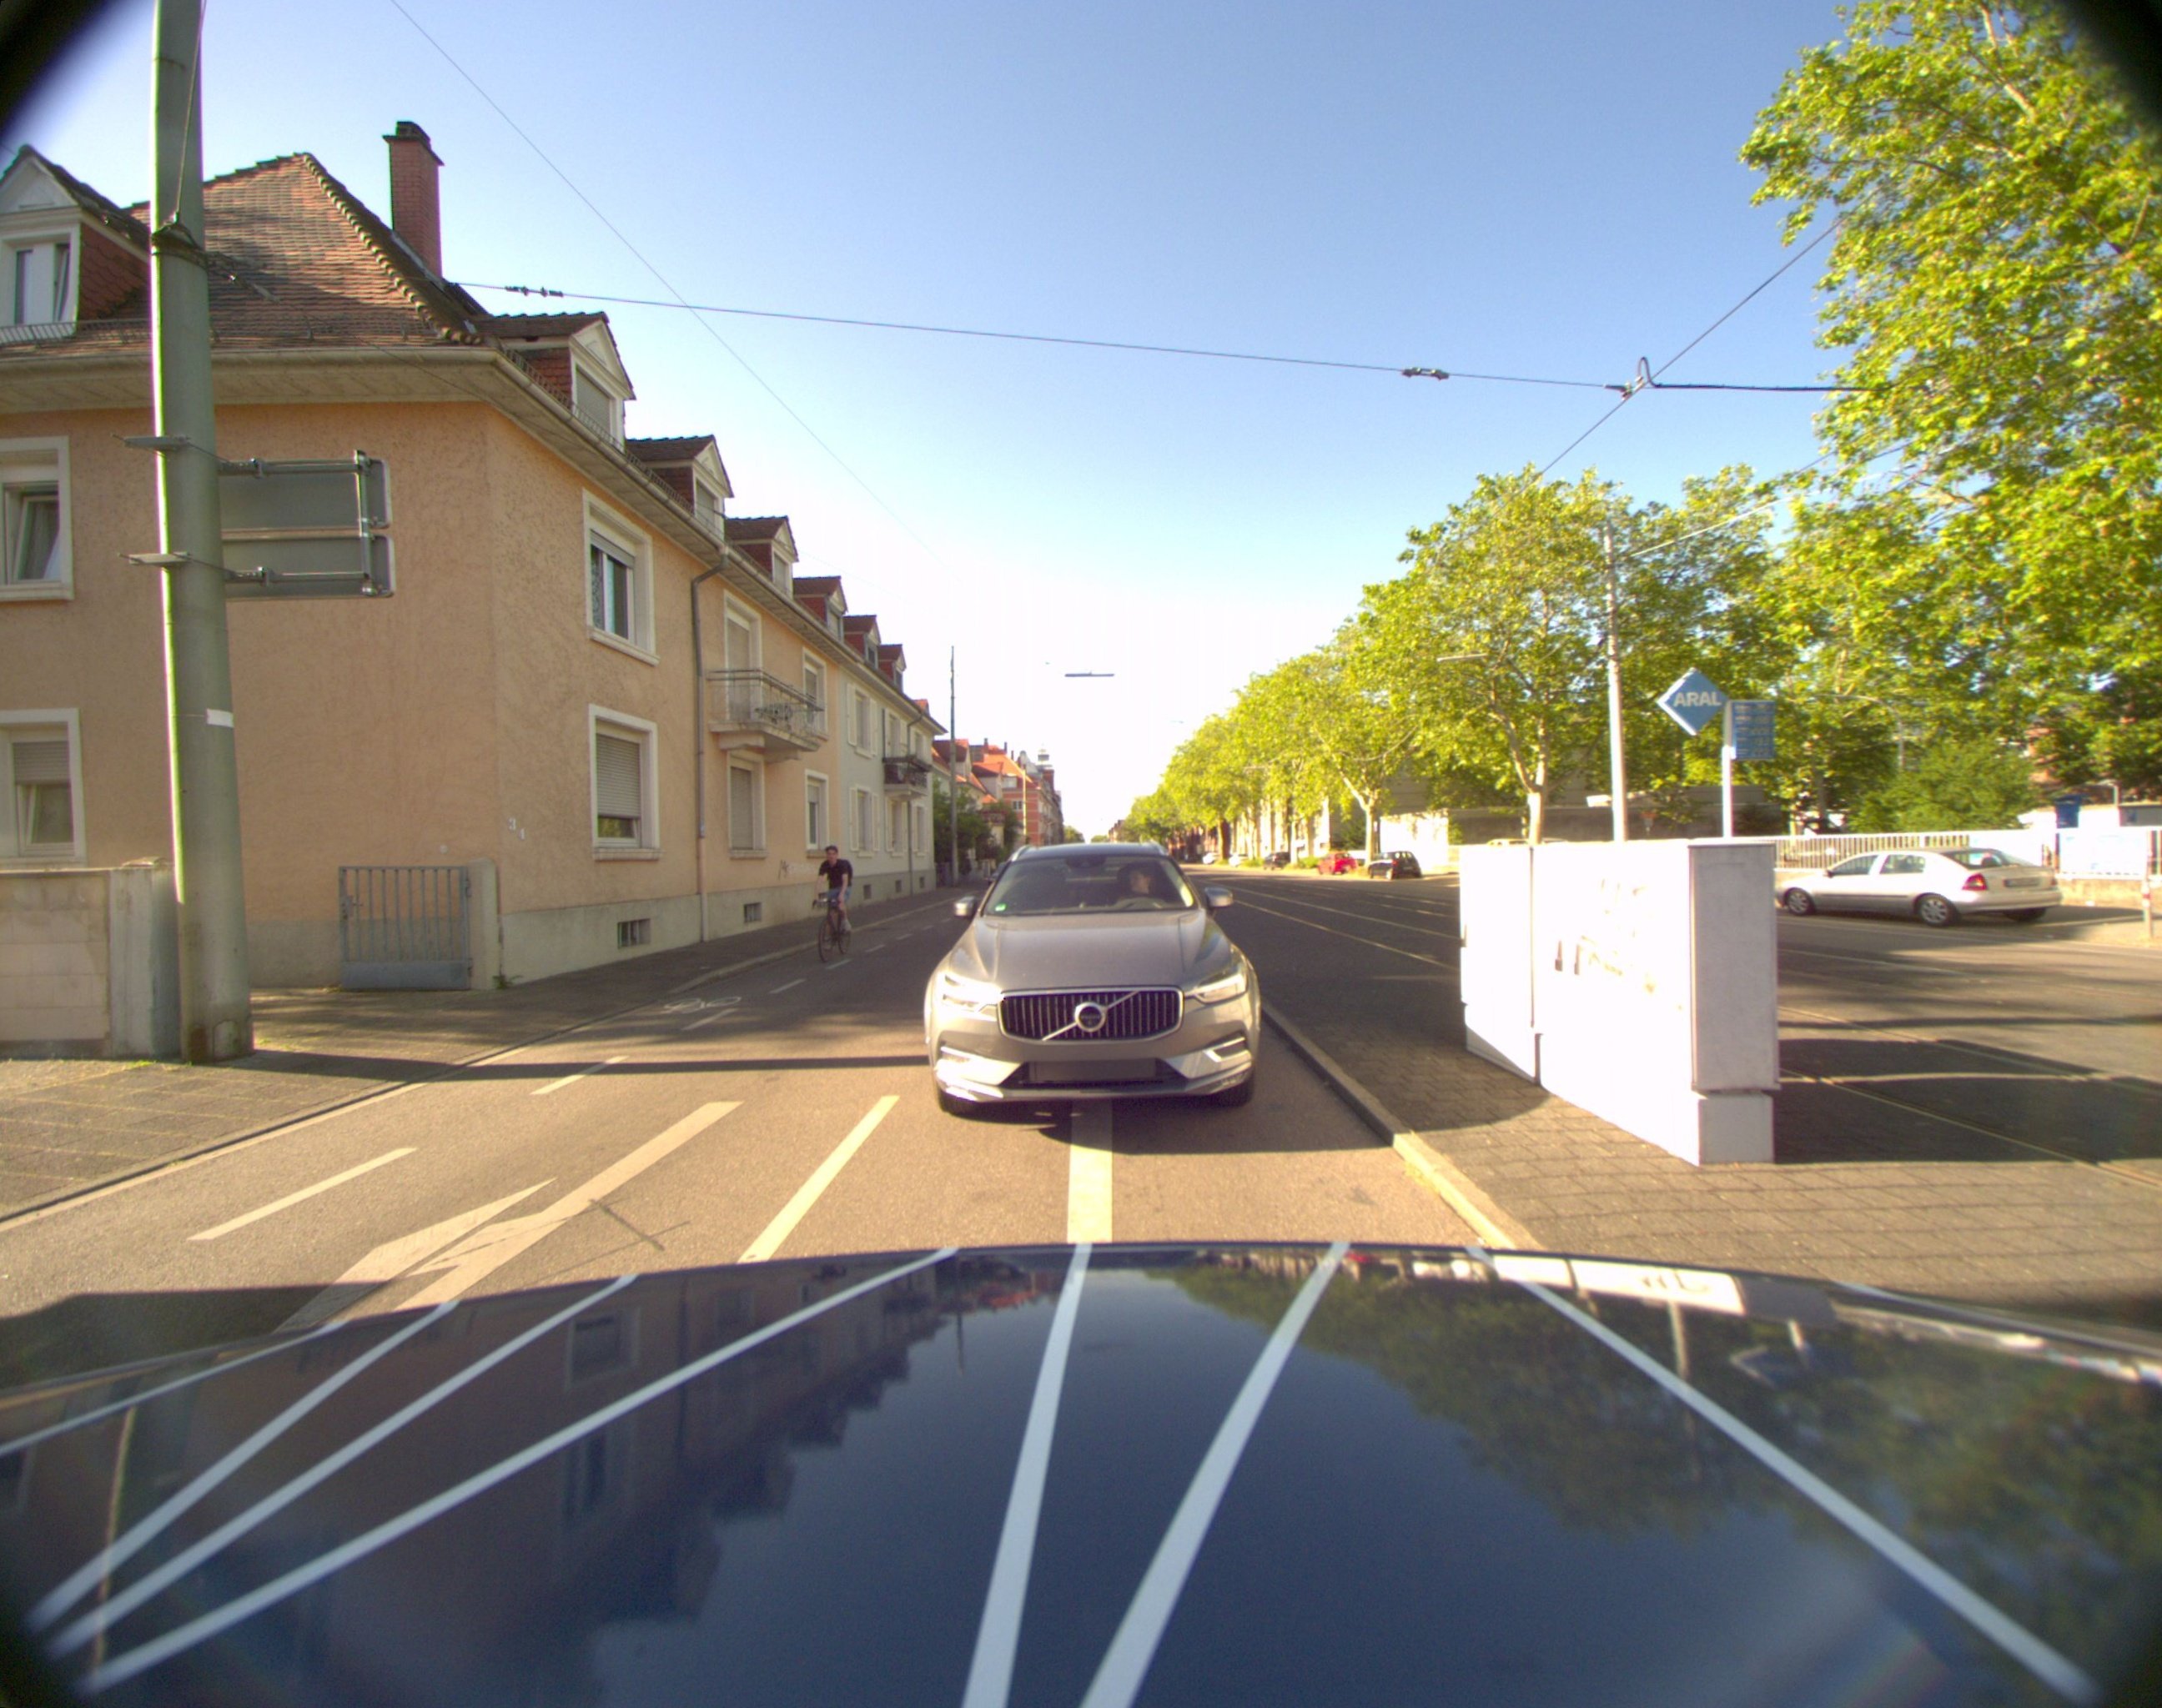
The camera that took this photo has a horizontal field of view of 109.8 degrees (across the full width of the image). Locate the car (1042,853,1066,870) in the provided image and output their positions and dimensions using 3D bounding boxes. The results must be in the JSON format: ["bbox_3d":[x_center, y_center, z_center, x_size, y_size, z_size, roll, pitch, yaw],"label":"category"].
[{"bbox_3d":[-2.347,0.619,66.367,1.867,1.399,4.078,-1,0,1],"label":"car"}]

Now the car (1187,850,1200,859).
[{"bbox_3d":[18.516,0.058,125.298,1.758,1.475,3.858,-3,0,3],"label":"car"}]

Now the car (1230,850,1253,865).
[{"bbox_3d":[17.585,0.357,83.348,1.758,1.475,3.858,-3,0,3],"label":"car"}]

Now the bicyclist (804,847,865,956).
[{"bbox_3d":[-4.064,0.748,12.608,0.561,1.721,1.084,-2,1,1],"label":"bicyclist"}]

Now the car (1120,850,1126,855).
[{"bbox_3d":[13.644,-0.552,247.355,1.998,1.685,4.000,-1,0,1],"label":"car"}]

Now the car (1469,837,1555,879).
[{"bbox_3d":[21.817,0.171,38.646,1.999,2.002,3.999,-1,0,-1],"label":"car"}]

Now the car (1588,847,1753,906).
[{"bbox_3d":[16.483,0.571,21.520,1.745,1.389,3.858,-4,0,3],"label":"car"}]

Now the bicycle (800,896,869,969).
[{"bbox_3d":[-4.062,1.267,12.650,0.533,1.011,1.758,-1,0,1],"label":"bicycle"}]

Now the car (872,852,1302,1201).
[{"bbox_3d":[0.060,0.816,5.937,1.998,1.609,4.697,-1,0,1],"label":"car"}]

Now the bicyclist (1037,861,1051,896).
[{"bbox_3d":[-1.747,1.150,36.278,0.562,1.607,1.016,-2,1,0],"label":"bicyclist"}]

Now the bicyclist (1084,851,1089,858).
[{"bbox_3d":[1.180,0.074,165.231,1.054,1.496,1.250,-1,1,1],"label":"bicyclist"}]

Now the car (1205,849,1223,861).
[{"bbox_3d":[17.679,0.165,100.942,1.758,1.475,3.858,-3,0,3],"label":"car"}]

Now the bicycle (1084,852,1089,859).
[{"bbox_3d":[1.176,0.319,165.235,1.054,1.262,3.914,-1,0,1],"label":"bicycle"}]

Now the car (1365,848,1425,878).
[{"bbox_3d":[16.897,0.460,41.047,1.758,1.449,3.858,-3,0,3],"label":"car"}]

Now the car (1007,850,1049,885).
[{"bbox_3d":[-2.908,0.700,42.836,1.867,1.778,5.297,-1,0,1],"label":"car"}]

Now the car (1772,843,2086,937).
[{"bbox_3d":[16.243,0.610,14.913,1.847,1.477,3.858,-4,0,2],"label":"car"}]

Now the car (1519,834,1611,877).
[{"bbox_3d":[24.165,0.083,38.105,1.999,2.002,3.999,-1,0,-1],"label":"car"}]

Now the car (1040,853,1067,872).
[{"bbox_3d":[-2.126,0.666,60.063,1.867,1.399,4.078,-1,0,1],"label":"car"}]

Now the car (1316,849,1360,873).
[{"bbox_3d":[16.909,0.453,50.189,1.717,1.421,3.858,-3,0,3],"label":"car"}]

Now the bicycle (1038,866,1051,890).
[{"bbox_3d":[-1.710,1.120,36.173,0.550,1.056,1.794,-1,1,-1],"label":"bicycle"}]

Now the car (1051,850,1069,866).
[{"bbox_3d":[-2.318,0.430,85.456,1.867,1.653,4.078,-1,0,1],"label":"car"}]

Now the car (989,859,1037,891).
[{"bbox_3d":[-3.231,0.963,37.082,1.867,1.399,4.424,-1,0,1],"label":"car"}]

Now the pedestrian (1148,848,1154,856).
[{"bbox_3d":[19.605,-0.545,213.142,1.686,2.002,1.761,-1,1,1],"label":"pedestrian"}]

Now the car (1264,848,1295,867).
[{"bbox_3d":[17.179,0.295,65.921,1.758,1.536,3.858,-3,0,3],"label":"car"}]
